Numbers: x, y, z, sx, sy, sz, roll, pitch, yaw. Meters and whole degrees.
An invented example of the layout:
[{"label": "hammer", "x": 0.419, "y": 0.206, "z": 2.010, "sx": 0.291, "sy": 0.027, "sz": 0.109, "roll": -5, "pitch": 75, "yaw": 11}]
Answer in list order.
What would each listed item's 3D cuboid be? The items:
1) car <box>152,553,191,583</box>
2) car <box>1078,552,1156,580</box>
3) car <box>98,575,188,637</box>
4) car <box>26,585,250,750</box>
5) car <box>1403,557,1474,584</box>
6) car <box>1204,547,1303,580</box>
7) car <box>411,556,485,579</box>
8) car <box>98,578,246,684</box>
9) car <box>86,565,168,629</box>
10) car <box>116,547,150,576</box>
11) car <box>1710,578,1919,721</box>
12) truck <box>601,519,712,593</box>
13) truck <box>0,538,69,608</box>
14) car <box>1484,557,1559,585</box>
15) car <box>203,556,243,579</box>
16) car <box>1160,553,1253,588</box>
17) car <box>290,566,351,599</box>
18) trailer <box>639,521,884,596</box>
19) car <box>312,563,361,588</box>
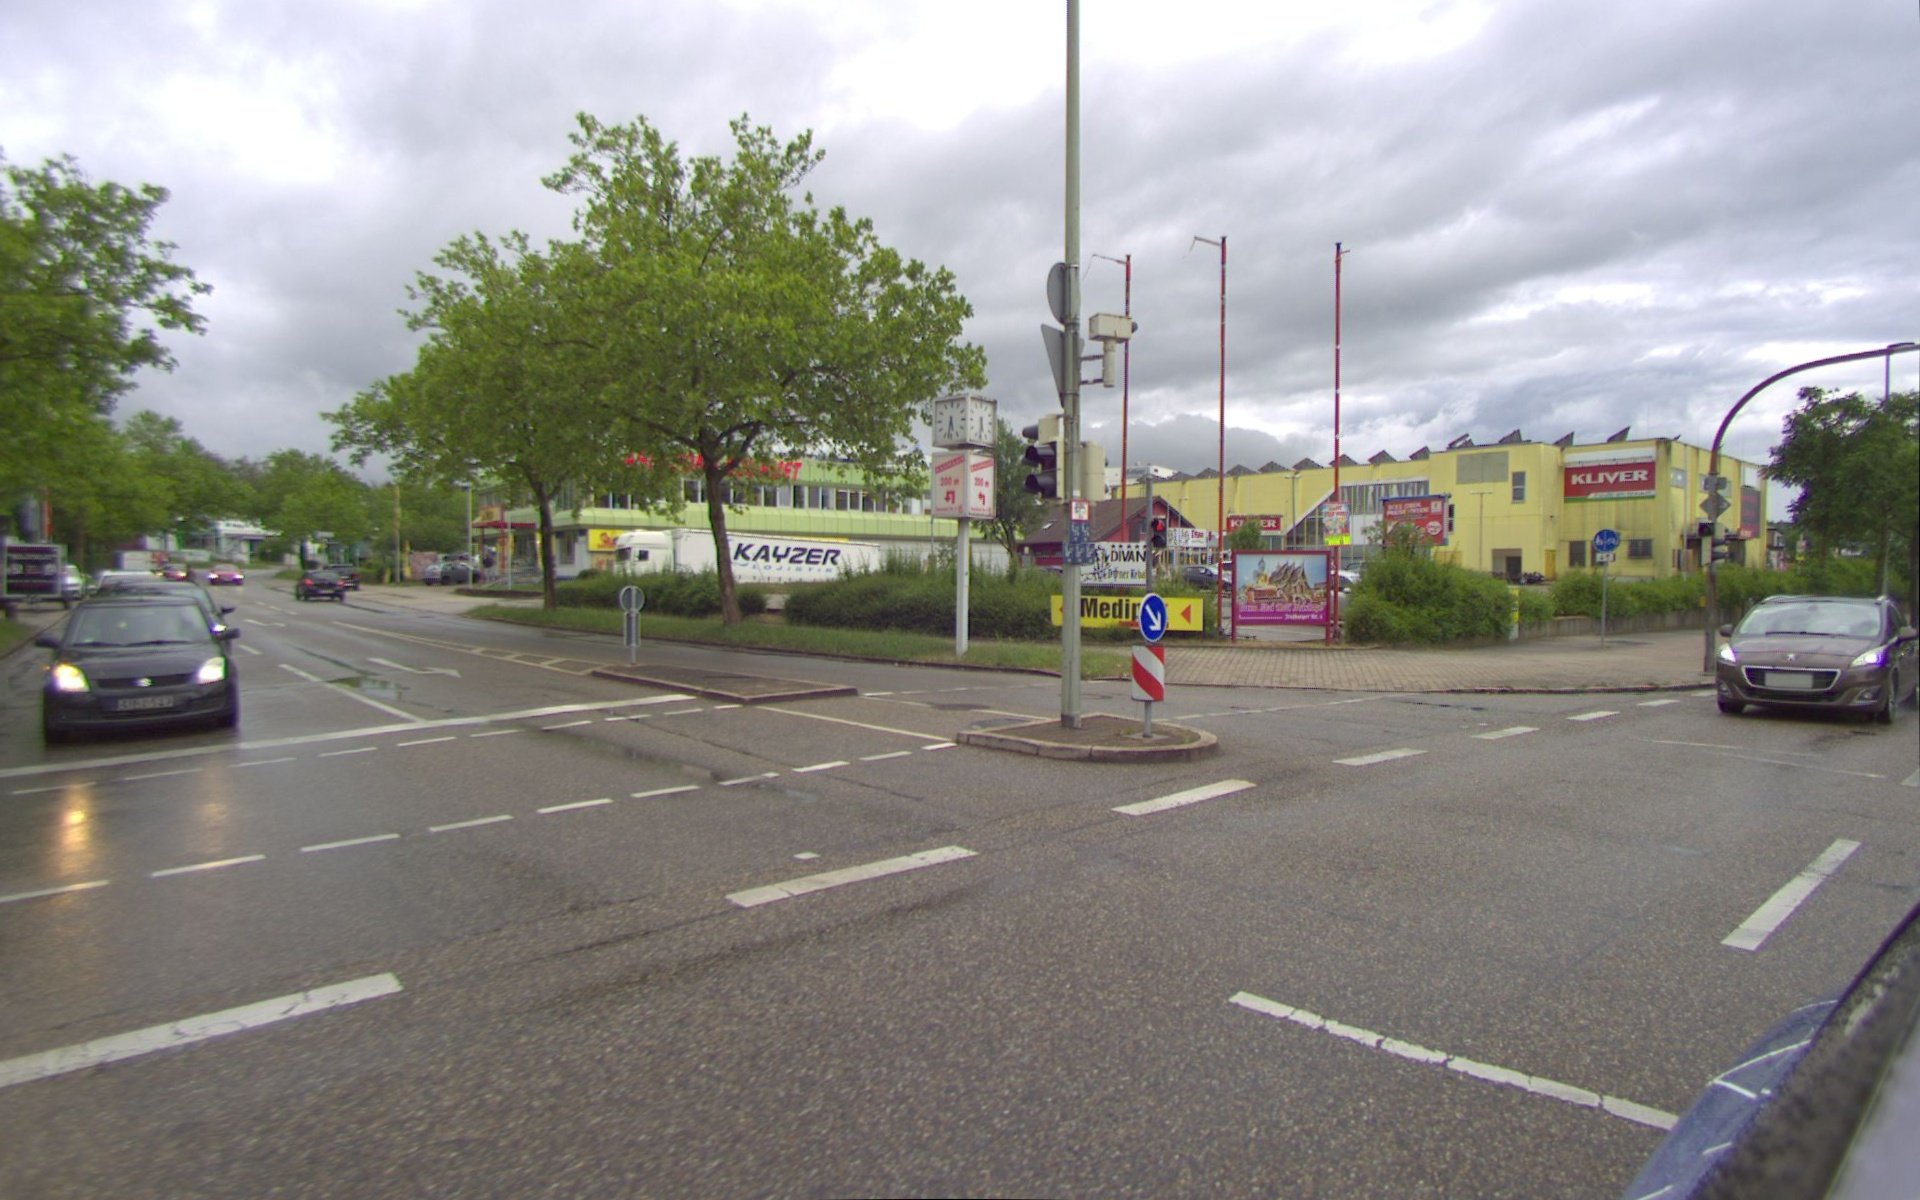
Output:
[{"label": "car", "x": -54.902, "y": -2.248, "z": 70.432, "sx": 1.965, "sy": 2.038, "sz": 3.994, "roll": 0, "pitch": 2, "yaw": -41}, {"label": "car", "x": 10.647, "y": -2.325, "z": 68.912, "sx": 2.340, "sy": 1.801, "sz": 4.977, "roll": 0, "pitch": 1, "yaw": -41}, {"label": "car", "x": -22.141, "y": 0.096, "z": 27.445, "sx": 1.785, "sy": 1.465, "sz": 3.989, "roll": -1, "pitch": 3, "yaw": -39}, {"label": "car", "x": -9.731, "y": 0.628, "z": 12.060, "sx": 1.785, "sy": 1.507, "sz": 3.989, "roll": -1, "pitch": 3, "yaw": -39}, {"label": "car", "x": 33.122, "y": -2.028, "z": 70.052, "sx": 1.965, "sy": 1.801, "sz": 3.994, "roll": 0, "pitch": 1, "yaw": -41}, {"label": "car", "x": 16.864, "y": -2.080, "z": 58.346, "sx": 2.340, "sy": 1.801, "sz": 4.977, "roll": 0, "pitch": 1, "yaw": -41}, {"label": "car", "x": -33.567, "y": -2.104, "z": 66.399, "sx": 1.981, "sy": 1.460, "sz": 3.962, "roll": 1, "pitch": 1, "yaw": 28}, {"label": "car", "x": -13.265, "y": 0.466, "z": 17.243, "sx": 1.705, "sy": 1.567, "sz": 4.154, "roll": -1, "pitch": 0, "yaw": -34}, {"label": "car", "x": -26.762, "y": -0.160, "z": 32.560, "sx": 1.890, "sy": 1.861, "sz": 4.338, "roll": -1, "pitch": 3, "yaw": -39}, {"label": "car", "x": -65.441, "y": -3.048, "z": 80.073, "sx": 1.965, "sy": 2.217, "sz": 3.994, "roll": 0, "pitch": 2, "yaw": -41}, {"label": "car", "x": 11.871, "y": 0.571, "z": 13.705, "sx": 4.391, "sy": 1.645, "sz": 1.729, "roll": -1, "pitch": -1, "yaw": -40}, {"label": "truck", "x": -16.682, "y": -2.316, "z": 55.675, "sx": 5.044, "sy": 3.764, "sz": 3.158, "roll": 1, "pitch": -1, "yaw": -40}, {"label": "truck", "x": -35.108, "y": -1.060, "z": 38.374, "sx": 1.785, "sy": 2.515, "sz": 3.989, "roll": -1, "pitch": 3, "yaw": -39}, {"label": "car", "x": 37.921, "y": -1.981, "z": 68.383, "sx": 1.965, "sy": 1.801, "sz": 3.994, "roll": 0, "pitch": 1, "yaw": -41}, {"label": "car", "x": -52.700, "y": -2.297, "z": 72.366, "sx": 1.965, "sy": 1.549, "sz": 3.994, "roll": 0, "pitch": 1, "yaw": -41}, {"label": "car", "x": 13.266, "y": -1.580, "z": 54.686, "sx": 1.965, "sy": 1.801, "sz": 4.574, "roll": 0, "pitch": 1, "yaw": -41}, {"label": "car", "x": -31.129, "y": -0.883, "z": 49.222, "sx": 1.965, "sy": 1.549, "sz": 3.994, "roll": 0, "pitch": 1, "yaw": -41}, {"label": "trailer", "x": -11.361, "y": -2.240, "z": 60.108, "sx": 14.546, "sy": 3.764, "sz": 3.158, "roll": 1, "pitch": -1, "yaw": -40}, {"label": "car", "x": -38.375, "y": -1.499, "z": 62.224, "sx": 1.965, "sy": 1.460, "sz": 3.994, "roll": 0, "pitch": 1, "yaw": -41}]
